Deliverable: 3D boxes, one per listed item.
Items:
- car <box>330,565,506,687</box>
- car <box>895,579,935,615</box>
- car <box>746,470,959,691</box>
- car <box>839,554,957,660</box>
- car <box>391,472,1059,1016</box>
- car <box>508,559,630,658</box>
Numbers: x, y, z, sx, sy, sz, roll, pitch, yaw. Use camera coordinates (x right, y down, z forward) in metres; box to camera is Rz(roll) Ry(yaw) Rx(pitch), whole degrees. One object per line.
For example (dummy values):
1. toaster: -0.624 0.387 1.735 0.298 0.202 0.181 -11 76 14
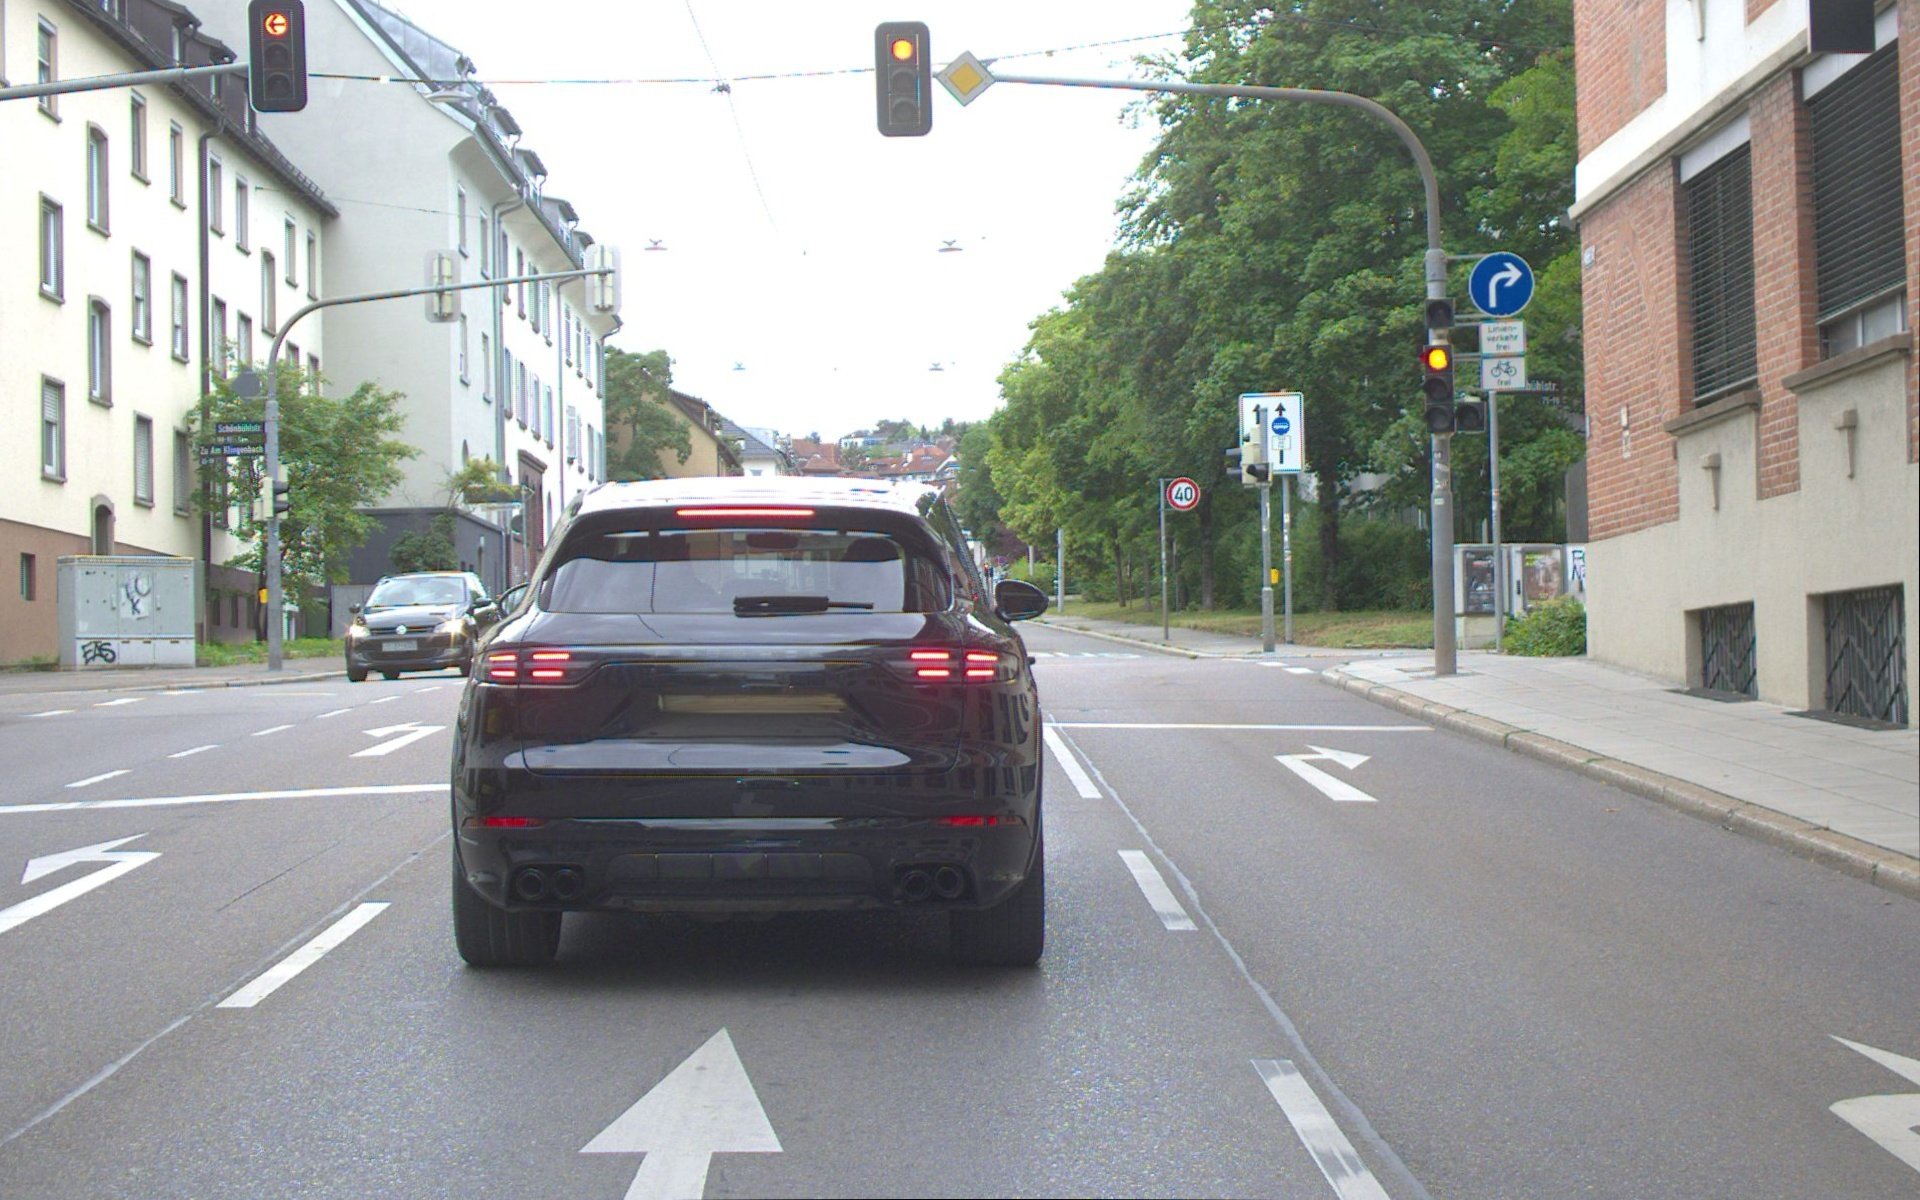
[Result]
1. car: -7.134 0.312 45.555 1.673 1.395 3.795 -3 1 0
2. car: -2.128 -0.142 164.099 1.827 1.599 4.135 1 1 0
3. car: -1.009 -0.232 34.161 1.965 2.035 4.135 1 1 0
4. car: -0.985 0.079 55.931 1.827 1.599 4.135 1 1 0
5. car: -0.736 0.395 12.768 2.048 1.660 4.267 1 1 0
6. car: -7.046 0.125 62.271 1.703 1.581 3.937 -3 1 0
